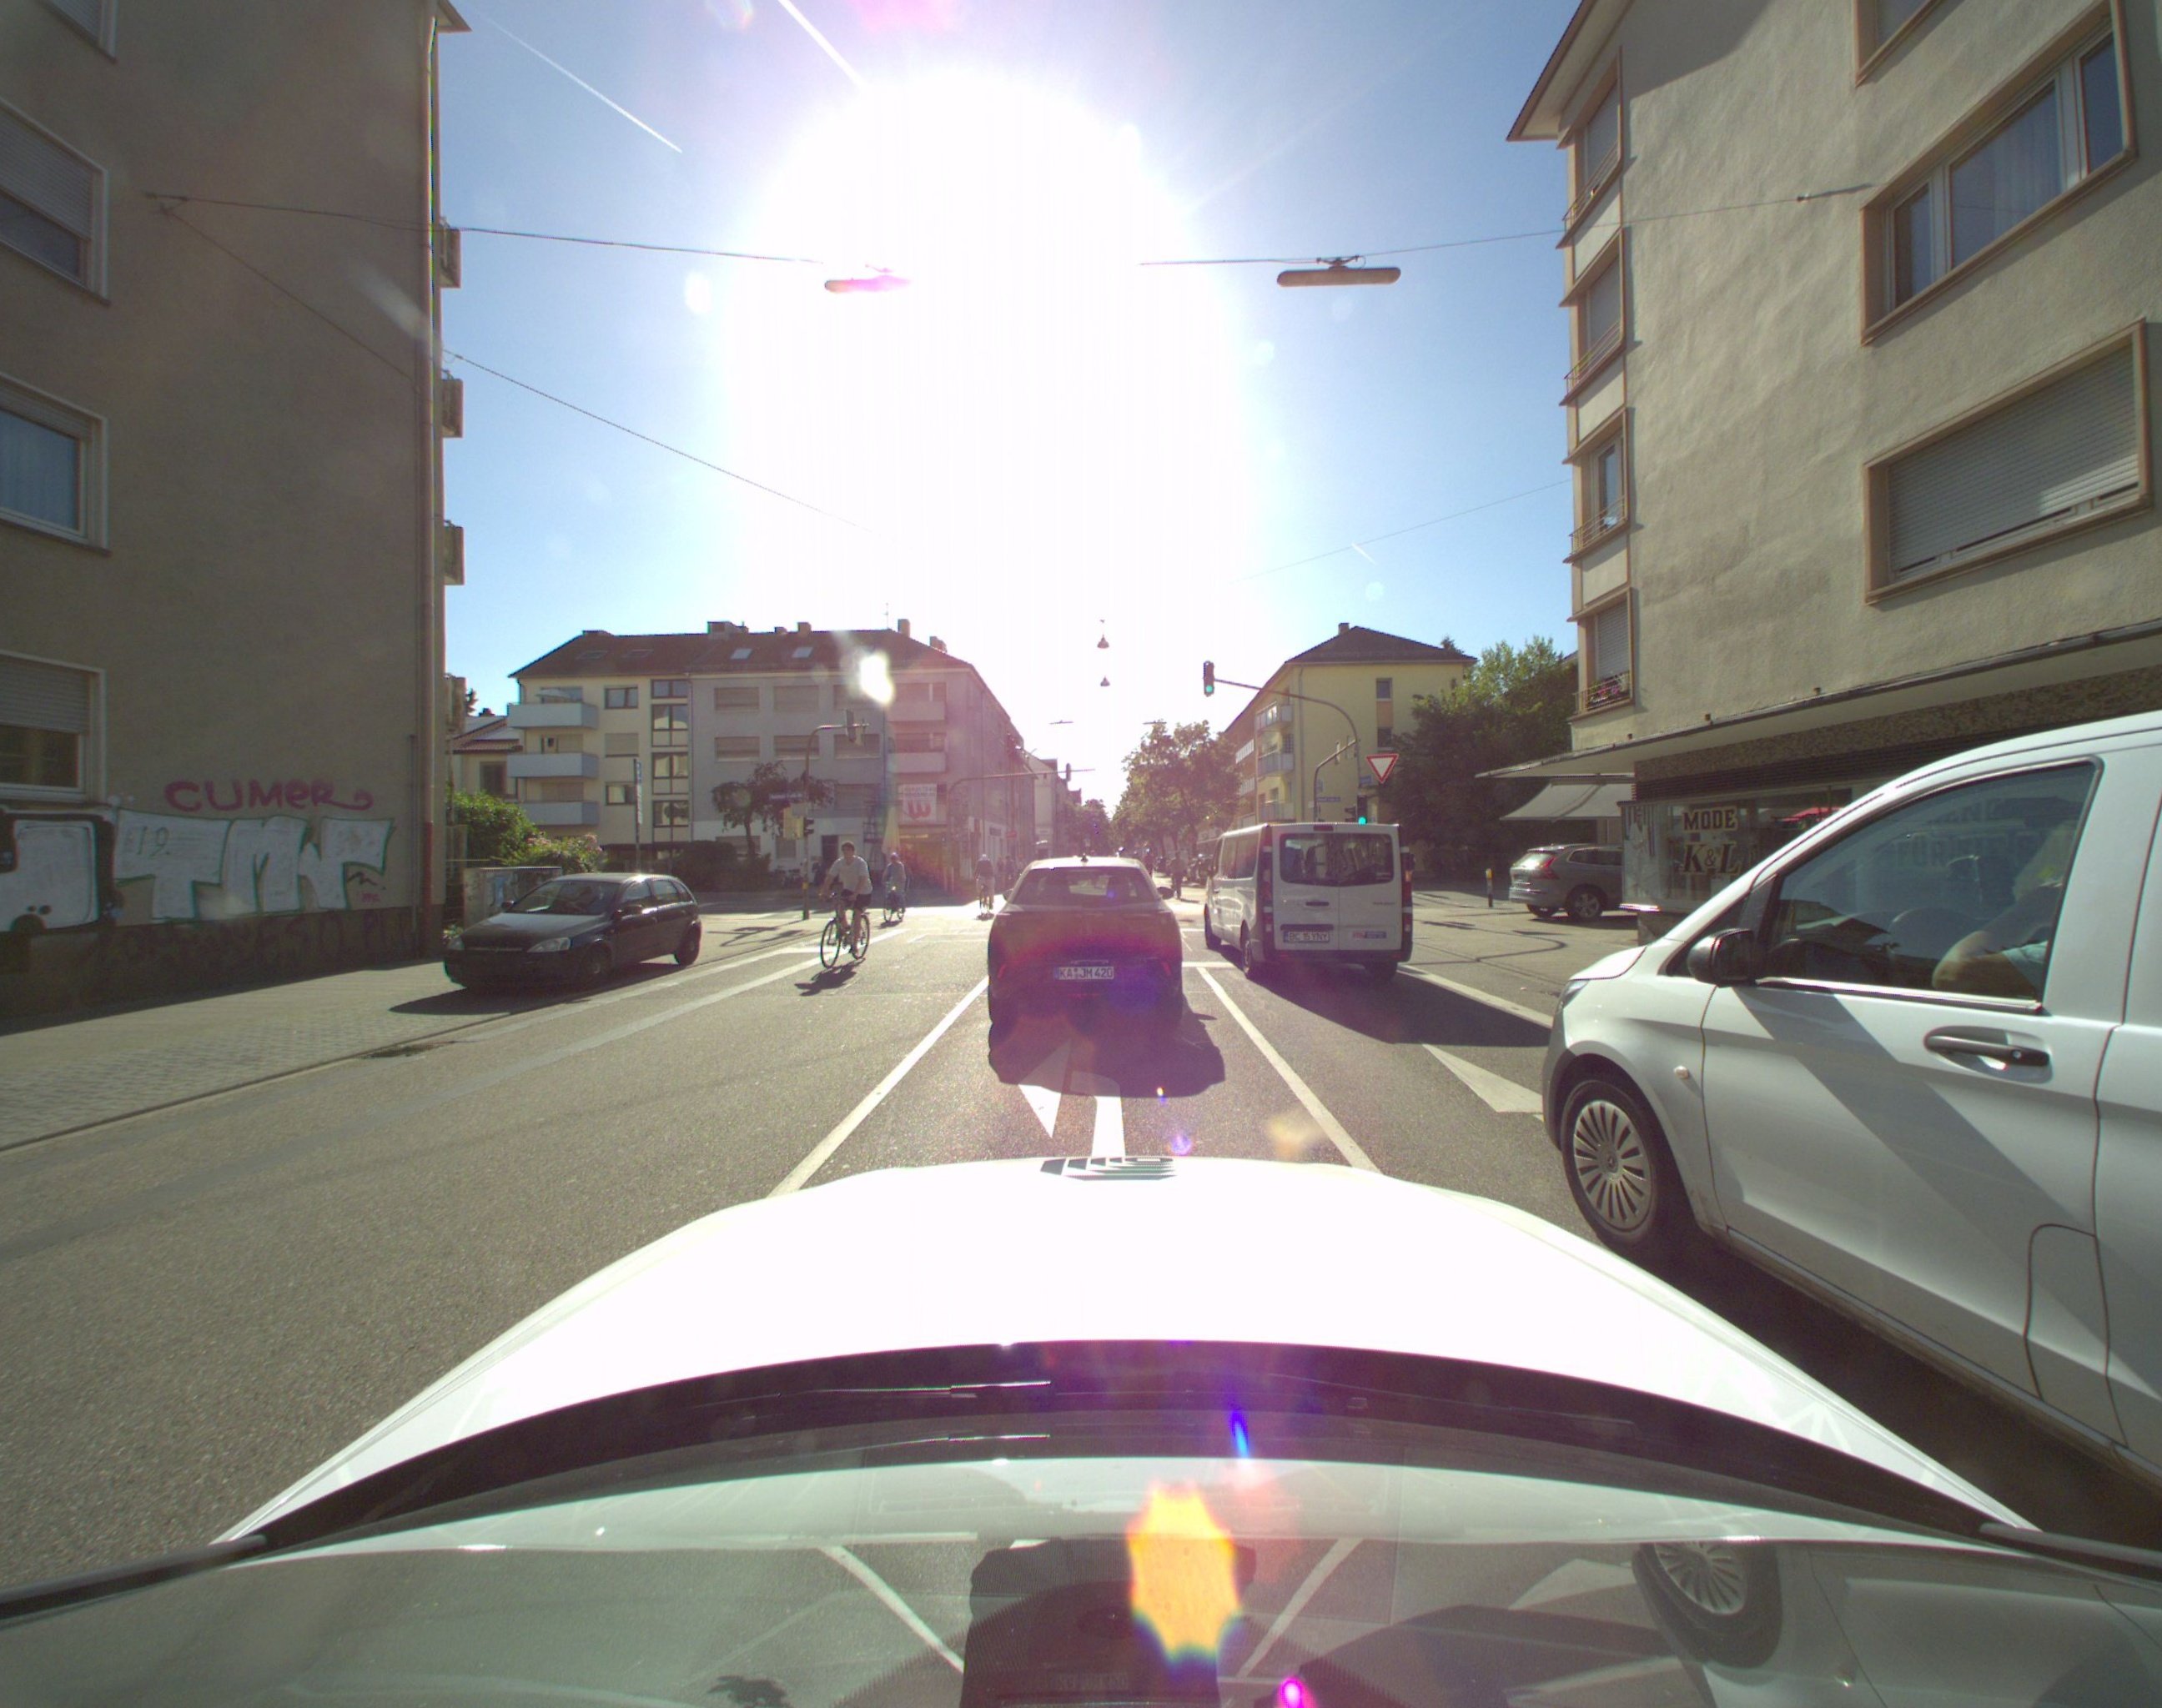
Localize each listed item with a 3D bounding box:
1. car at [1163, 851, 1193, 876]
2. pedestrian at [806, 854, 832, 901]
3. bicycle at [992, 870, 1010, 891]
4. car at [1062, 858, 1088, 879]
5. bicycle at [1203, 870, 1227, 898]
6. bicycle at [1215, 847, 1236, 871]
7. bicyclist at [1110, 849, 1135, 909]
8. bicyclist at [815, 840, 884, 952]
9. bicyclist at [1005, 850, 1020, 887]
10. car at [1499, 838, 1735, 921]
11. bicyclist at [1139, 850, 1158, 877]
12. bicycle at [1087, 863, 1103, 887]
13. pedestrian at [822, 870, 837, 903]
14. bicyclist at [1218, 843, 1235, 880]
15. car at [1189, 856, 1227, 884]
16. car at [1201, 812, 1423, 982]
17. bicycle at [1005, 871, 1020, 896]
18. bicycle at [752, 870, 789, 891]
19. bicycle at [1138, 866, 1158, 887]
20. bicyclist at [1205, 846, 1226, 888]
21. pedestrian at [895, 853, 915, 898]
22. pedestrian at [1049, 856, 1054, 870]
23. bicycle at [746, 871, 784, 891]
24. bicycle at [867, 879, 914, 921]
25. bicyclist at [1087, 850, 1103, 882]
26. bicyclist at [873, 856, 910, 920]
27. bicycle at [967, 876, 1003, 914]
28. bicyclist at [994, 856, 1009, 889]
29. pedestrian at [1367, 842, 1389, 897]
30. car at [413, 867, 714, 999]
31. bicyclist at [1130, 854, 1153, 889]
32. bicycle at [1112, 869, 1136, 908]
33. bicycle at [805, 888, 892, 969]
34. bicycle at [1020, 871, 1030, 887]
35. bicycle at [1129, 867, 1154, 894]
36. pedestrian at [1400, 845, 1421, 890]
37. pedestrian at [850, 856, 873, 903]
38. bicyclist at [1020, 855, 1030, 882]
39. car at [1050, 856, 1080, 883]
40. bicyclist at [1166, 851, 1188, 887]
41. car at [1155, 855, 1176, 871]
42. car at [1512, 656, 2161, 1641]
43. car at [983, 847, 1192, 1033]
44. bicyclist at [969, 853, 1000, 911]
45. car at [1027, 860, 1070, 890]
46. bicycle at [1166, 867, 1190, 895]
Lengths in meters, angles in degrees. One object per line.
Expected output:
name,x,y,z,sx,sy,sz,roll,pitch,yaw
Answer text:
car,7.592,0.720,64.203,2.037,1.846,4.588,-1,0,3
pedestrian,-9.636,0.862,29.965,0.571,1.683,0.969,-1,0,2
bicycle,-3.694,1.214,37.723,0.540,0.902,1.827,-1,0,2
car,-0.465,1.044,60.892,1.799,1.413,4.424,-3,0,-1
bicycle,4.602,1.013,28.040,0.617,0.866,1.878,-1,0,3
bicycle,5.588,0.192,31.549,0.544,0.866,1.878,-1,0,3
bicyclist,1.189,0.700,23.450,0.630,1.669,1.051,-2,0,1
bicyclist,-3.495,0.614,12.368,0.714,1.620,0.946,-2,-1,2
bicyclist,-2.689,0.557,31.788,0.542,1.391,0.787,-1,0,-5
car,11.646,0.539,17.911,3.972,1.662,1.826,-1,0,2
bicyclist,3.393,0.481,41.145,0.853,1.314,1.211,1,0,1
bicycle,0.762,1.099,43.212,0.798,1.255,2.140,-1,0,2
pedestrian,-9.129,1.169,29.566,0.384,1.146,0.532,-1,0,0
bicyclist,5.543,0.268,31.032,0.544,1.382,0.823,-1,0,3
car,7.064,0.855,45.525,1.706,1.483,3.482,-1,0,2
car,3.038,0.510,11.911,1.961,1.940,5.057,0,0,2
bicycle,-2.678,1.151,31.746,0.542,0.902,1.823,-1,0,-5
bicycle,-15.242,1.302,39.967,1.582,0.940,0.513,-1,0,3
bicycle,3.386,1.125,41.235,0.853,0.945,2.308,1,0,2
bicyclist,4.573,0.443,27.685,0.586,1.382,0.823,-1,0,3
pedestrian,-6.251,0.746,29.012,0.529,1.581,0.563,-1,0,4
pedestrian,-3.369,1.040,92.294,0.575,1.583,0.707,-1,0,-4
bicycle,-15.227,1.295,39.268,1.582,0.940,0.513,-1,0,3
bicycle,-4.965,1.182,21.319,0.677,0.952,1.934,-3,0,2
bicyclist,0.753,0.646,43.252,0.798,1.649,1.126,-1,0,2
bicyclist,-4.970,0.870,21.424,0.677,1.630,0.899,-3,0,2
bicycle,-2.702,1.142,23.110,0.677,0.952,1.934,-3,0,2
bicyclist,-3.691,0.863,37.838,0.540,1.520,0.774,-1,0,2
pedestrian,9.927,0.521,27.191,0.599,1.822,0.631,-1,0,15
car,-6.891,0.956,11.405,1.685,1.448,3.856,1,0,0
bicyclist,2.358,0.683,31.839,0.853,1.314,1.211,1,0,1
bicycle,1.218,0.978,23.483,0.630,1.041,1.796,-2,0,2
bicycle,-3.491,1.087,12.410,0.714,1.064,1.873,-2,-1,2
bicycle,-3.141,1.398,45.589,0.552,0.833,2.128,0,0,-4
bicycle,2.350,1.018,31.901,0.853,0.945,2.308,1,0,2
pedestrian,11.894,0.485,29.404,0.537,1.571,0.539,-1,0,1
pedestrian,-7.910,0.915,29.392,0.570,1.689,0.671,-1,0,8
bicyclist,-3.141,0.806,45.683,0.552,1.549,0.813,0,-1,-5
car,-0.975,0.975,51.918,1.586,1.566,4.091,-2,-1,2
bicyclist,3.279,0.501,27.919,0.689,1.193,0.595,-1,0,3
car,7.927,0.836,76.432,1.706,1.483,3.383,-1,0,2
car,2.956,0.527,1.336,1.961,1.810,4.833,-1,-1,1
car,0.111,0.748,8.941,1.756,1.558,4.001,-1,-1,2
bicyclist,-2.714,0.776,23.043,0.677,1.576,0.899,-3,0,2
car,-1.632,1.035,42.104,1.830,1.433,4.179,-1,0,2
bicycle,3.293,0.908,27.859,0.688,0.866,1.878,-1,0,3
